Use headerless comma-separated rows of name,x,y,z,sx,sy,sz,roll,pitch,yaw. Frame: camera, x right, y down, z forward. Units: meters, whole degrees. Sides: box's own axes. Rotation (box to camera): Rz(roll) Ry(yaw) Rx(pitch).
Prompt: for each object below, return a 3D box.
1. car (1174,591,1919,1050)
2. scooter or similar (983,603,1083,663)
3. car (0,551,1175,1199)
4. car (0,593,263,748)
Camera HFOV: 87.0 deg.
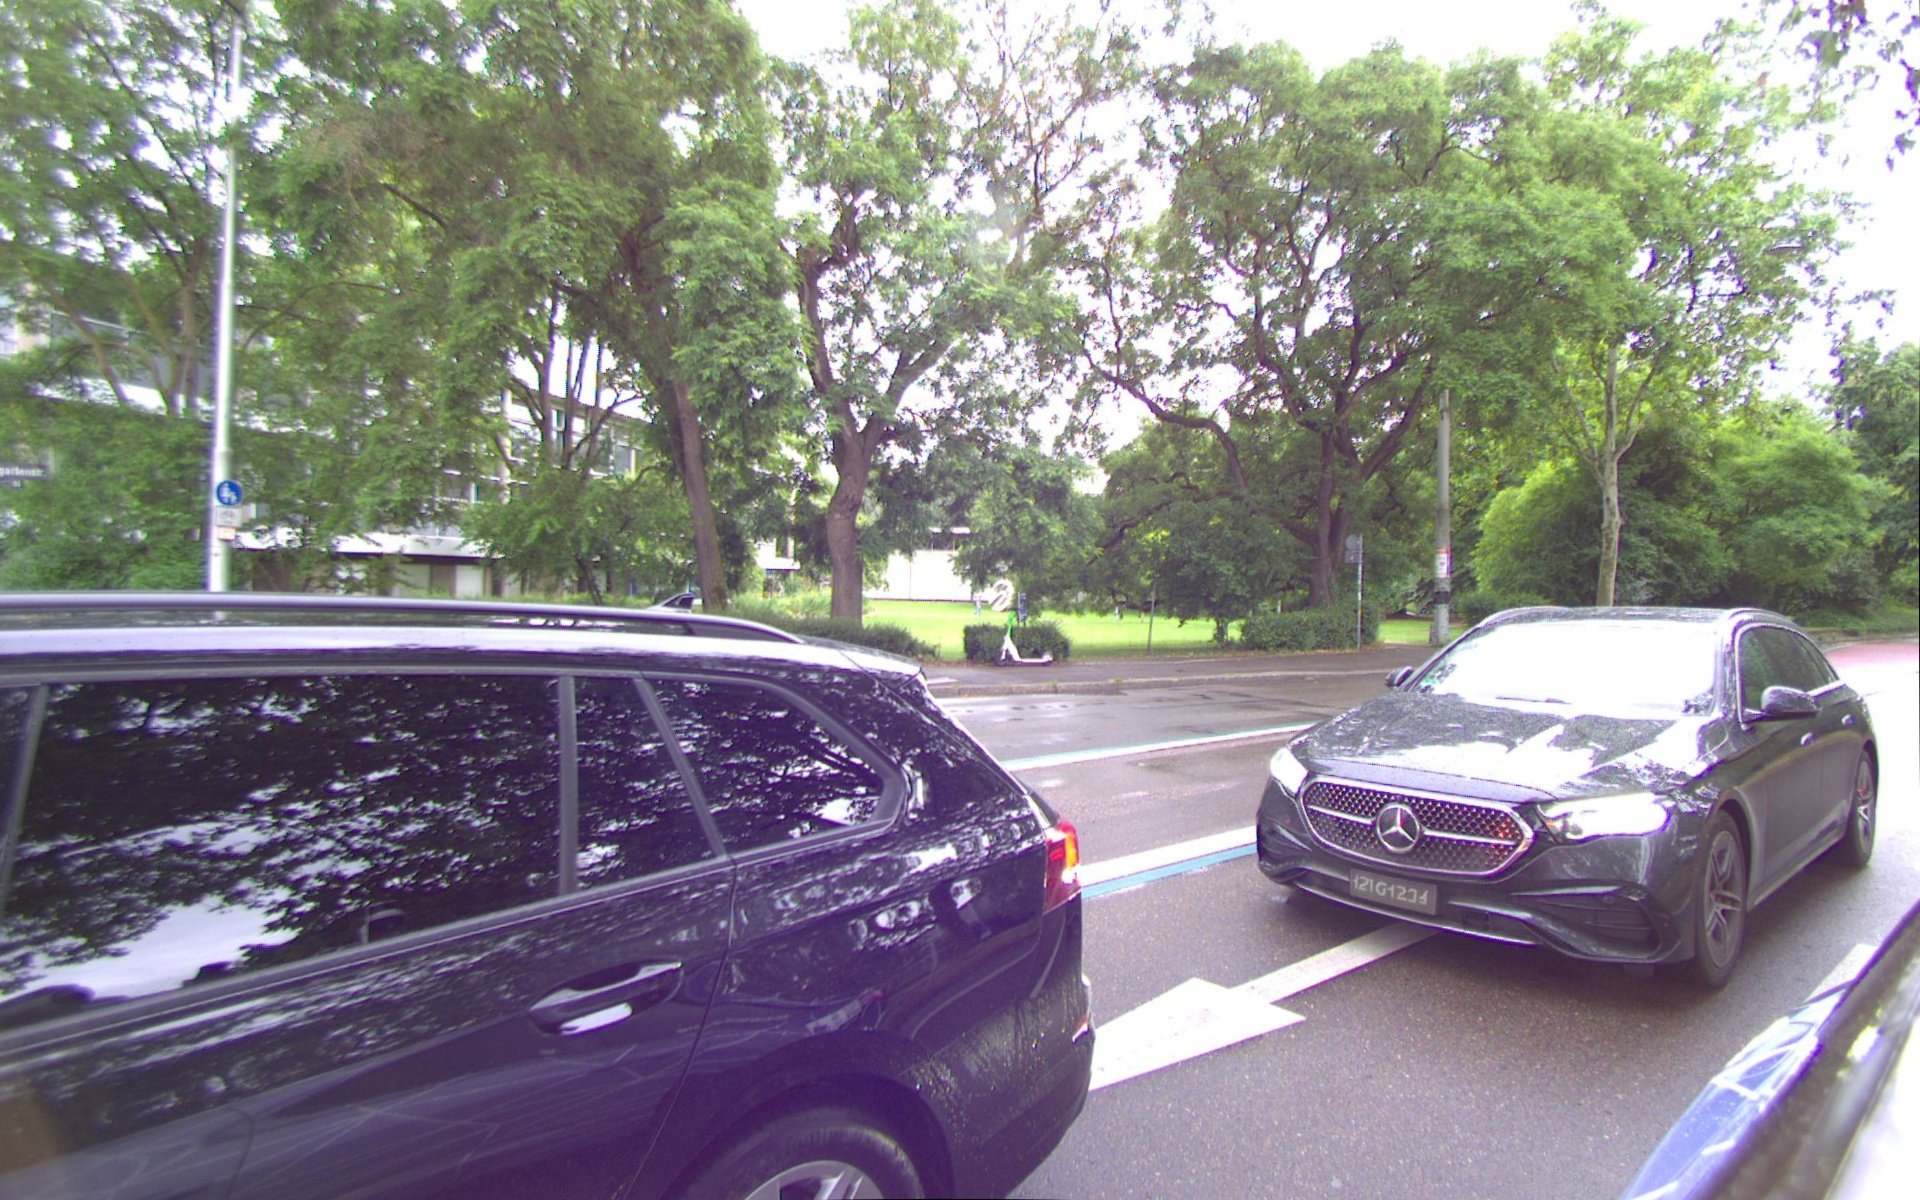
car,3.473,0.712,5.492,4.840,1.464,1.884,0,-1,-38
scooter or similar,1.448,0.653,19.979,1.851,1.114,0.559,2,2,-19
car,-1.722,0.679,1.413,4.434,1.484,1.672,1,0,-42
car,-9.939,0.665,10.315,4.311,1.468,1.872,1,0,-19
